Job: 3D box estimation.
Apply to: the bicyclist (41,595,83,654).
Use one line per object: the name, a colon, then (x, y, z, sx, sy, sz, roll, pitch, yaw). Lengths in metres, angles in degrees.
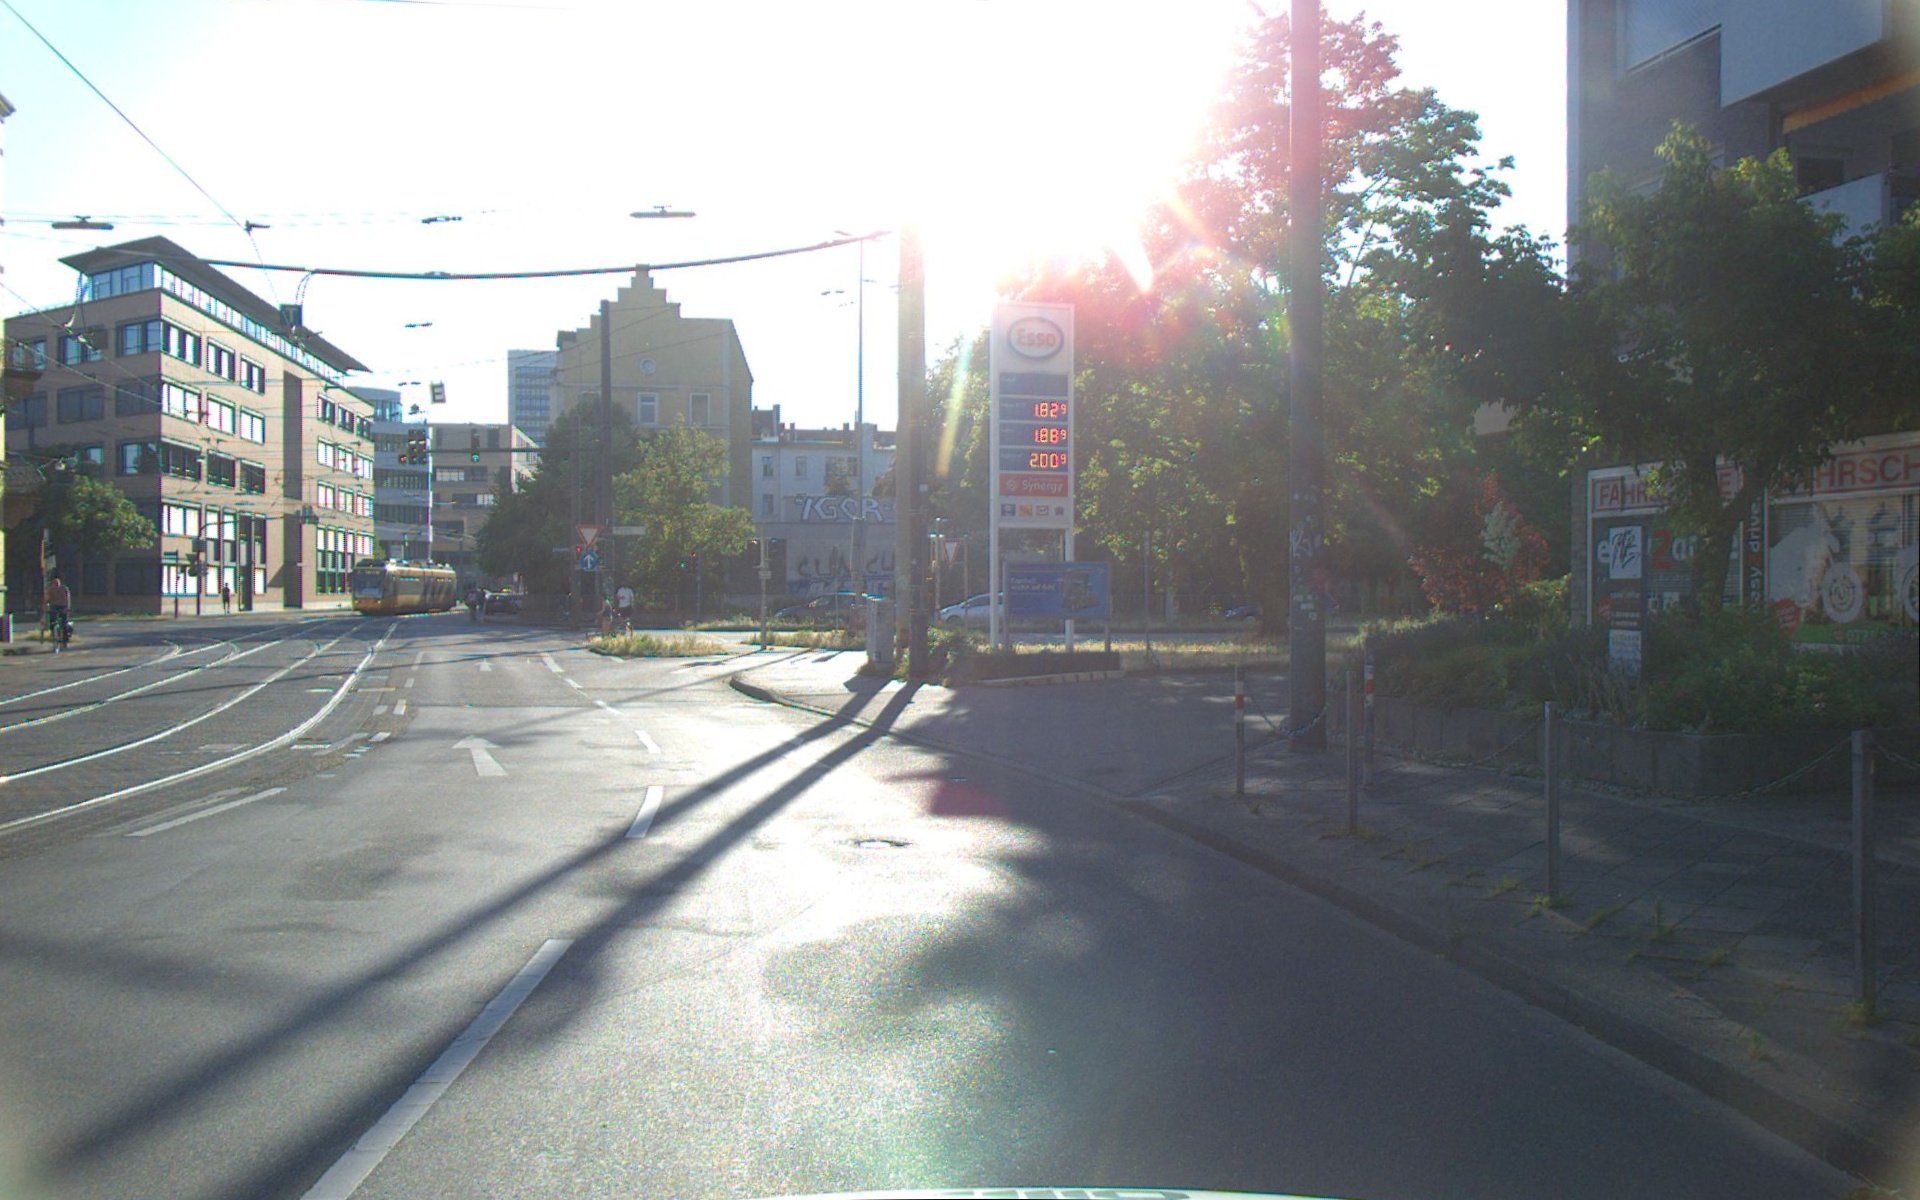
bicyclist: (-24.139, 0.654, 44.468, 0.830, 1.540, 0.797, -1, 0, -19)

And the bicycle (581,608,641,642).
bicycle: (-10.863, 0.772, 51.429, 1.801, 1.002, 0.732, -1, 0, -13)

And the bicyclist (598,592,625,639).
bicyclist: (-10.828, 0.477, 51.434, 0.790, 1.438, 0.622, -1, 0, -13)

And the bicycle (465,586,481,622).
bicycle: (-25.316, 0.205, 85.970, 0.555, 1.838, 1.356, -1, 0, -8)

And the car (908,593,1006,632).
car: (-0.090, 0.489, 67.999, 3.903, 1.534, 1.673, -1, 0, 4)

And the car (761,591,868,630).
car: (-5.668, 0.402, 64.805, 3.903, 1.478, 1.811, -1, 0, 5)

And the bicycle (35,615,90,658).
bicycle: (-24.123, 0.969, 44.497, 0.932, 1.117, 1.988, -1, 0, -19)

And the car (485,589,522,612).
car: (-30.892, 0.034, 111.960, 1.957, 1.489, 3.991, -1, 0, -10)

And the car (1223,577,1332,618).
car: (12.141, -0.107, 63.392, 3.904, 1.478, 1.687, -1, 0, 2)

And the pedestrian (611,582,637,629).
pedestrian: (-12.634, 0.205, 62.259, 0.909, 1.721, 0.776, -1, 0, -10)

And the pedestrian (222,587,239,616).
pedestrian: (-46.926, 0.089, 106.360, 0.790, 1.874, 0.735, -1, 0, -8)

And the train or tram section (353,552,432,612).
train or tram section: (-37.124, -1.128, 108.743, 2.199, 3.637, 14.250, -1, 0, -8)

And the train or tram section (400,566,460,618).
train or tram section: (-39.023, -0.573, 122.191, 2.181, 3.642, 12.186, -1, 0, -8)

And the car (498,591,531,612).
car: (-32.925, 0.113, 122.283, 1.957, 1.512, 3.991, -1, 0, -10)
